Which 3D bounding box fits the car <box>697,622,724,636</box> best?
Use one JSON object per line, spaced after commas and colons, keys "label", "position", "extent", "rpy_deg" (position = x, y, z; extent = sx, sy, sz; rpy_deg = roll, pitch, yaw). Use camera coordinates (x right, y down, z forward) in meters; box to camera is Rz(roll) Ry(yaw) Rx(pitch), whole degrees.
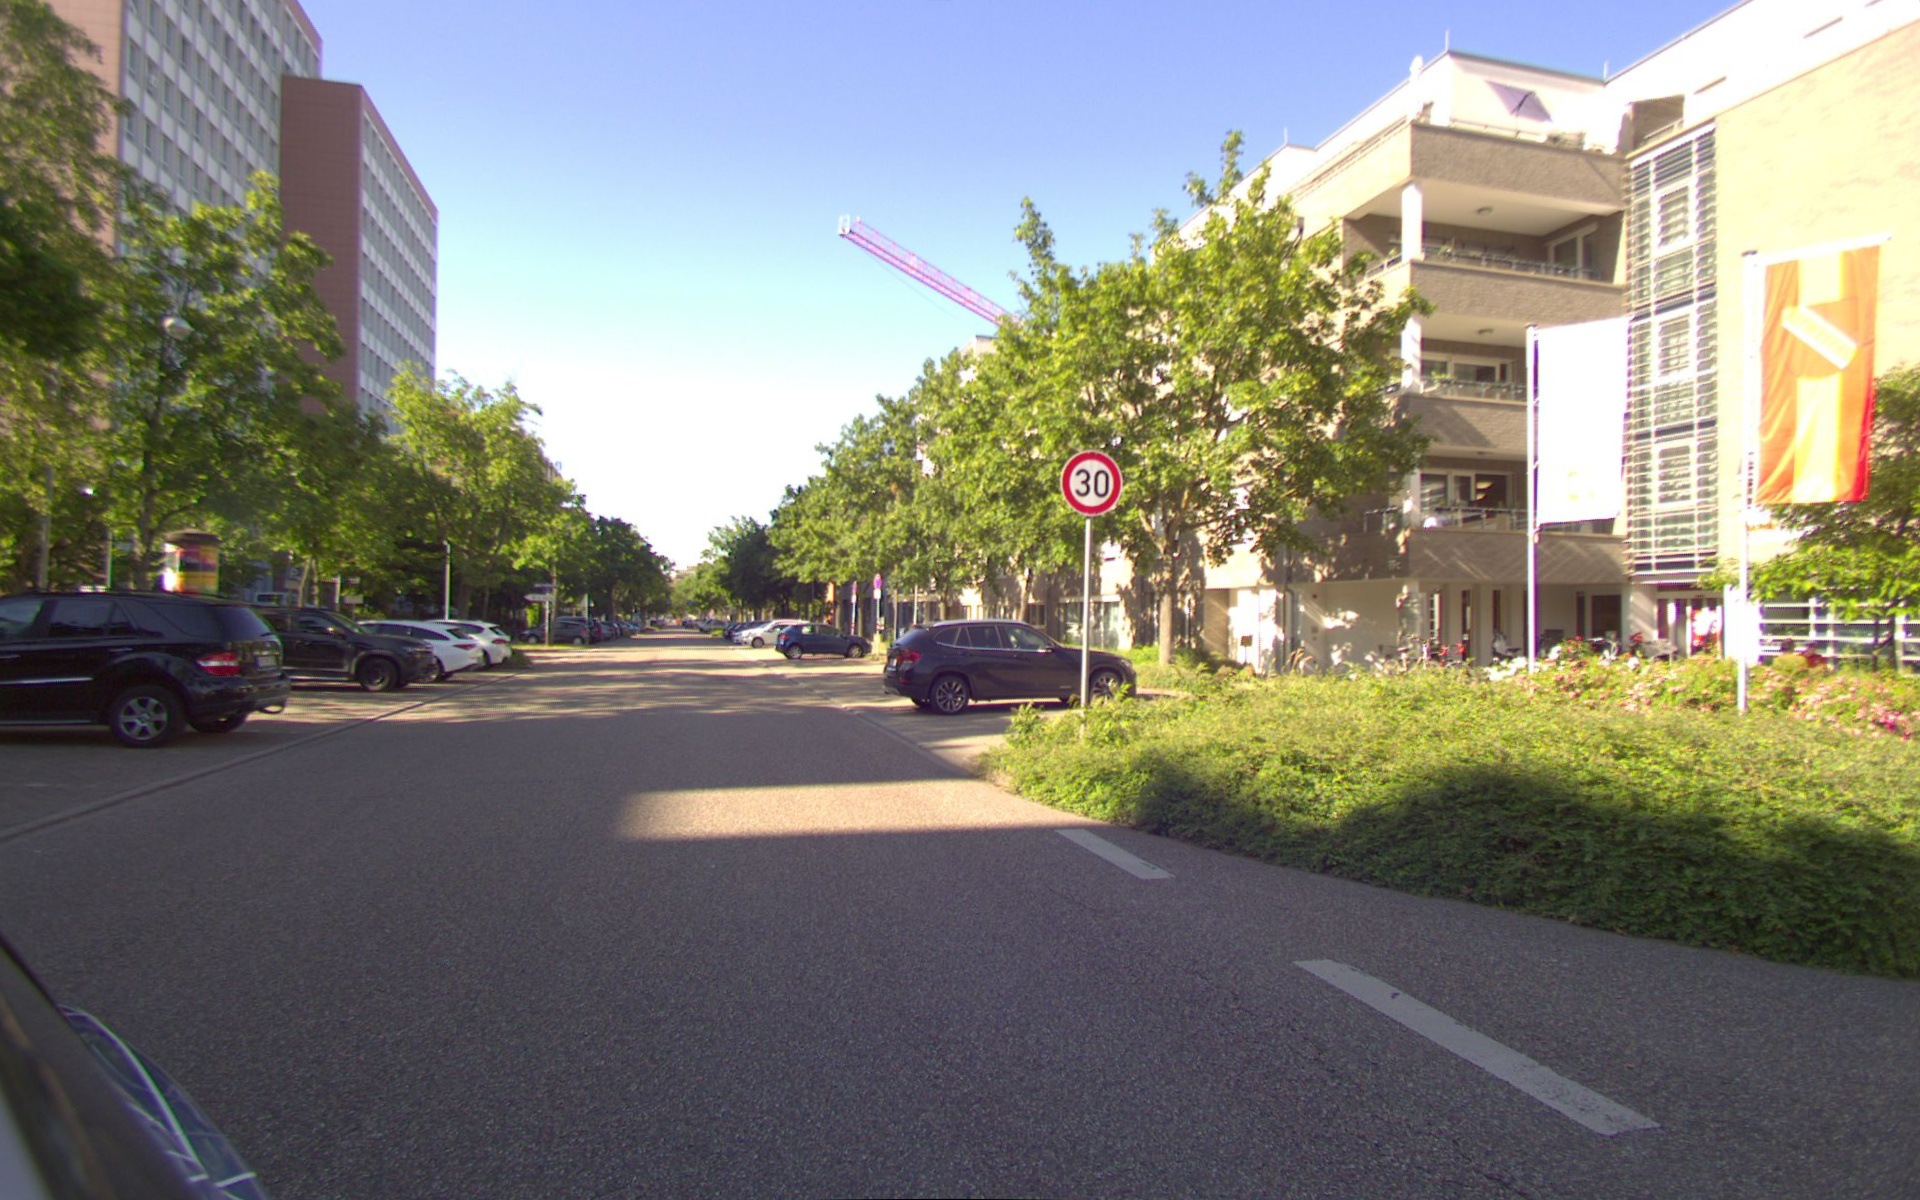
{"label": "car", "position": [-38.767, 4.472, 157.104], "extent": [3.931, 2.123, 2.006], "rpy_deg": [0, -1, -17]}

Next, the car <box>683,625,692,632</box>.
{"label": "car", "position": [-58.428, 6.145, 217.074], "extent": [1.739, 1.383, 4.010], "rpy_deg": [1, -2, -13]}

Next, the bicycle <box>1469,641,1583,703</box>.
{"label": "bicycle", "position": [10.563, 1.311, 18.975], "extent": [0.431, 1.055, 2.199], "rpy_deg": [0, -1, -15]}

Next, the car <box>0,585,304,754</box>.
{"label": "car", "position": [-10.630, 0.755, 11.804], "extent": [4.524, 1.792, 2.006], "rpy_deg": [3, -2, -15]}

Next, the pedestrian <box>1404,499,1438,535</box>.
{"label": "pedestrian", "position": [10.953, -1.970, 24.049], "extent": [0.672, 0.804, 0.364], "rpy_deg": [0, -1, -22]}

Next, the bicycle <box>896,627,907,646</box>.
{"label": "bicycle", "position": [-3.826, 2.374, 65.977], "extent": [0.333, 1.184, 1.632], "rpy_deg": [0, -1, -15]}

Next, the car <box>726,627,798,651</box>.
{"label": "car", "position": [-13.155, 2.598, 67.329], "extent": [4.445, 1.462, 1.947], "rpy_deg": [-1, -1, -19]}

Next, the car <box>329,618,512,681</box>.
{"label": "car", "position": [-15.535, 1.436, 29.414], "extent": [4.365, 1.605, 1.842], "rpy_deg": [3, -2, -18]}

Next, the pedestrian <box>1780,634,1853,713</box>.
{"label": "pedestrian", "position": [15.372, 1.301, 18.167], "extent": [0.659, 1.371, 0.747], "rpy_deg": [1, -2, -14]}

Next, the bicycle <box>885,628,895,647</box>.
{"label": "bicycle", "position": [-4.551, 2.409, 65.378], "extent": [0.333, 1.184, 1.632], "rpy_deg": [0, -1, -15]}

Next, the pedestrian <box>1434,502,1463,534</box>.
{"label": "pedestrian", "position": [11.440, -1.914, 23.708], "extent": [0.409, 0.691, 0.429], "rpy_deg": [0, -1, -24]}

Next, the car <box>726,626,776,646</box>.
{"label": "car", "position": [-16.827, 2.910, 81.444], "extent": [3.769, 1.425, 1.692], "rpy_deg": [-1, -3, -16]}

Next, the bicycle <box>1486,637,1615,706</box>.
{"label": "bicycle", "position": [9.961, 1.180, 17.177], "extent": [0.431, 1.055, 2.199], "rpy_deg": [0, -1, -15]}

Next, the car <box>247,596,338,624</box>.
{"label": "car", "position": [-43.672, 0.672, 66.329], "extent": [4.650, 1.699, 1.881], "rpy_deg": [1, -2, -19]}

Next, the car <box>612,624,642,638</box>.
{"label": "car", "position": [-46.150, 4.298, 140.168], "extent": [3.931, 1.797, 1.959], "rpy_deg": [0, -1, -19]}

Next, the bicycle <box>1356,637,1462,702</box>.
{"label": "bicycle", "position": [8.046, 1.212, 18.245], "extent": [0.431, 1.055, 2.199], "rpy_deg": [0, -1, -15]}

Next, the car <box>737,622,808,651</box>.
{"label": "car", "position": [-11.592, 2.225, 62.591], "extent": [4.168, 1.614, 1.958], "rpy_deg": [-1, 0, -15]}

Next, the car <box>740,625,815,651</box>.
{"label": "car", "position": [-10.742, 2.245, 59.560], "extent": [4.199, 1.491, 1.805], "rpy_deg": [1, -2, -16]}

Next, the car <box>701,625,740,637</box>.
{"label": "car", "position": [-32.843, 4.213, 138.566], "extent": [5.169, 1.637, 1.958], "rpy_deg": [0, -1, -13]}

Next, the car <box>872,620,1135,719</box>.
{"label": "car", "position": [0.699, 1.120, 17.298], "extent": [4.135, 1.531, 1.777], "rpy_deg": [0, -1, -14]}

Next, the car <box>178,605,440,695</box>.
{"label": "car", "position": [-12.959, 1.004, 20.430], "extent": [4.061, 1.630, 1.739], "rpy_deg": [3, -1, -17]}

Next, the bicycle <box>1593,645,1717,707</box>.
{"label": "bicycle", "position": [13.322, 1.431, 19.494], "extent": [0.431, 1.055, 2.199], "rpy_deg": [0, -1, -15]}

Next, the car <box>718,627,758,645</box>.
{"label": "car", "position": [-20.027, 3.215, 91.285], "extent": [3.481, 1.517, 1.651], "rpy_deg": [0, -1, -16]}

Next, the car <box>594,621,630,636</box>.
{"label": "car", "position": [-42.034, 3.414, 122.289], "extent": [4.096, 1.719, 2.006], "rpy_deg": [0, -1, -17]}

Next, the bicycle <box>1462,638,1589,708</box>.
{"label": "bicycle", "position": [9.463, 1.192, 17.054], "extent": [0.431, 1.055, 2.199], "rpy_deg": [0, -1, -15]}

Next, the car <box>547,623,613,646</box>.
{"label": "car", "position": [-27.731, 2.504, 74.064], "extent": [4.359, 1.565, 1.865], "rpy_deg": [2, -2, -16]}

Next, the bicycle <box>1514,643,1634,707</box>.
{"label": "bicycle", "position": [11.419, 1.367, 18.917], "extent": [0.431, 1.055, 2.199], "rpy_deg": [0, -1, -15]}

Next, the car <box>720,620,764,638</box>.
{"label": "car", "position": [-18.175, 2.399, 84.393], "extent": [3.481, 1.447, 1.662], "rpy_deg": [0, -1, -16]}

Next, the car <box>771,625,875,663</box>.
{"label": "car", "position": [-5.628, 1.771, 41.343], "extent": [3.931, 1.422, 1.823], "rpy_deg": [0, -1, -19]}

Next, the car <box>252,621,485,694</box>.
{"label": "car", "position": [-13.597, 1.291, 23.568], "extent": [4.380, 1.557, 1.823], "rpy_deg": [0, -1, -18]}

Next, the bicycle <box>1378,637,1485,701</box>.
{"label": "bicycle", "position": [8.504, 1.213, 18.374], "extent": [0.431, 1.055, 2.199], "rpy_deg": [0, -1, -15]}

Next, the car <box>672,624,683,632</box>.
{"label": "car", "position": [-60.072, 5.945, 215.126], "extent": [1.921, 1.639, 4.010], "rpy_deg": [1, -2, -13]}

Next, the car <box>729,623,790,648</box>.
{"label": "car", "position": [-13.948, 2.475, 70.232], "extent": [4.057, 1.632, 1.808], "rpy_deg": [-1, -1, -14]}

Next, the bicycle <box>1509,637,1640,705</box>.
{"label": "bicycle", "position": [10.436, 1.170, 17.285], "extent": [0.431, 1.055, 2.199], "rpy_deg": [0, -1, -15]}

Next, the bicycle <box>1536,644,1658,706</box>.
{"label": "bicycle", "position": [11.931, 1.377, 19.051], "extent": [0.431, 1.055, 2.199], "rpy_deg": [0, -1, -15]}

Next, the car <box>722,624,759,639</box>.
{"label": "car", "position": [-22.978, 3.293, 105.898], "extent": [3.570, 1.519, 1.623], "rpy_deg": [0, -1, -17]}

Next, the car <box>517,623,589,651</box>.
{"label": "car", "position": [-24.040, 2.202, 59.951], "extent": [3.781, 1.458, 1.596], "rpy_deg": [4, -4, -18]}

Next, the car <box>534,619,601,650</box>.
{"label": "car", "position": [-24.292, 2.120, 62.693], "extent": [3.623, 1.764, 1.729], "rpy_deg": [2, -2, -13]}

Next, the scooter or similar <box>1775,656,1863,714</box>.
{"label": "scooter or similar", "position": [15.406, 1.510, 18.169], "extent": [0.792, 0.961, 0.870], "rpy_deg": [0, -1, -14]}
